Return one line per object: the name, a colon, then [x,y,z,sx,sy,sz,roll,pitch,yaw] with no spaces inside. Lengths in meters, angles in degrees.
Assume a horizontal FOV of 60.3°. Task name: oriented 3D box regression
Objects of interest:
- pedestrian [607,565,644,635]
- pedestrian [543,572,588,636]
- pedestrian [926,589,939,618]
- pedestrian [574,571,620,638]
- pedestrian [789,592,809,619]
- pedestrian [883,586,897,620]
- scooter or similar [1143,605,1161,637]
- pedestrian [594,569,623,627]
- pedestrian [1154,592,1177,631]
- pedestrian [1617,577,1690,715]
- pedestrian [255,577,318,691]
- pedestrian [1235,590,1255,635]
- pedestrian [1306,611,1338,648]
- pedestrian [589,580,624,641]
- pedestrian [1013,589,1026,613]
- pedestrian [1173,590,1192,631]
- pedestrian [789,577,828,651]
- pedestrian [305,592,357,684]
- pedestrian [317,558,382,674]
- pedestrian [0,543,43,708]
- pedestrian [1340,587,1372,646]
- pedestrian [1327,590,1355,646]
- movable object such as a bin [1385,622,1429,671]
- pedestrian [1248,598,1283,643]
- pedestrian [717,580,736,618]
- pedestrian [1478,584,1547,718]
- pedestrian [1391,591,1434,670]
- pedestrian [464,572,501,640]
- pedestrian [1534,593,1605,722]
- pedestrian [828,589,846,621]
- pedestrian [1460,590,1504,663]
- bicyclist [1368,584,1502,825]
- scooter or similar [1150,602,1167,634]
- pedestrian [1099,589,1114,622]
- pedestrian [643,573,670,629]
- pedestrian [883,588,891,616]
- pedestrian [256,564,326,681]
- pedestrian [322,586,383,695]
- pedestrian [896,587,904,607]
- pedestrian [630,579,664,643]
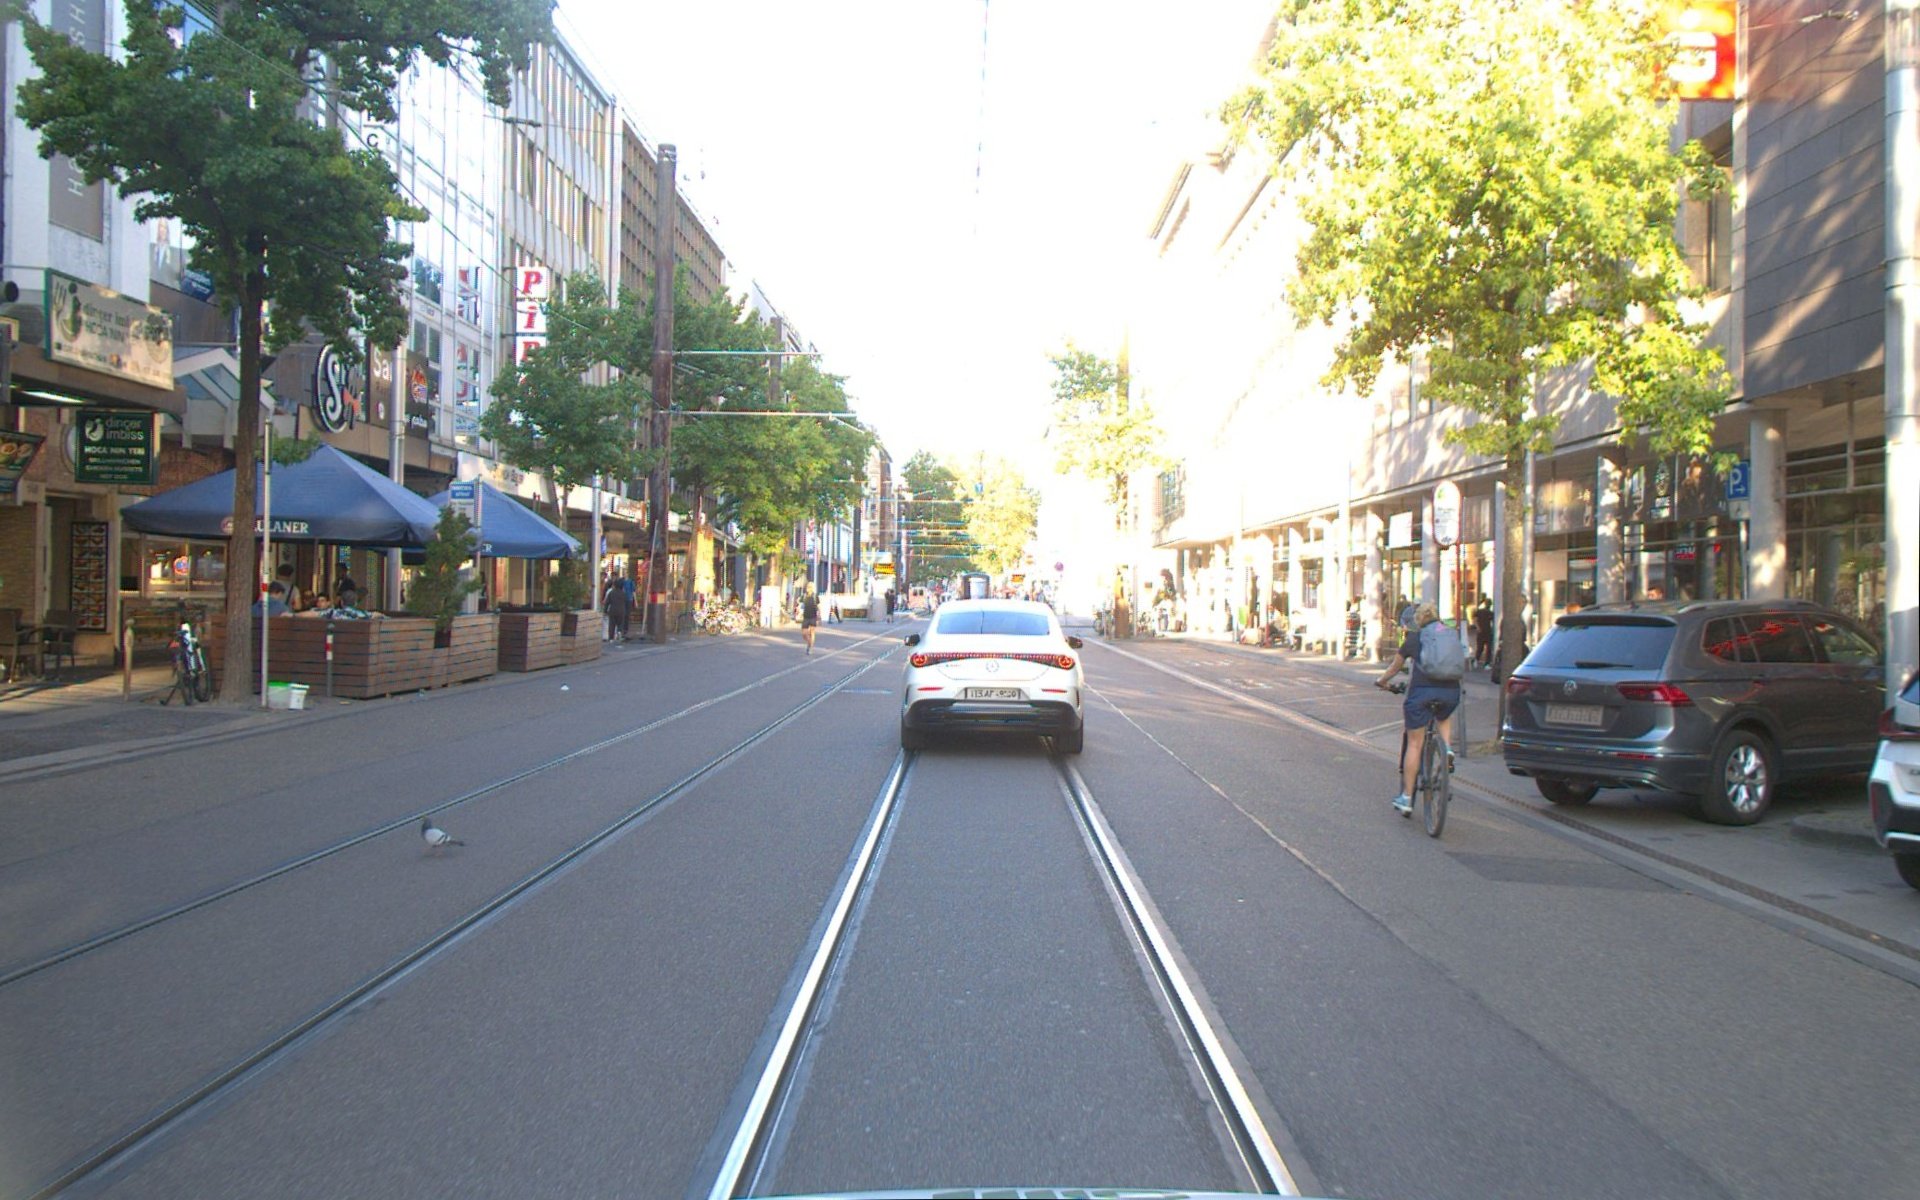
pedestrian: [-9.738,-0.003,48.237,0.784,1.957,1.071,3,0,-2]
pedestrian: [-10.631,0.116,44.627,0.831,1.666,0.762,2,0,20]
pedestrian: [-1.804,0.225,108.252,0.784,1.813,0.849,2,0,-1]
pedestrian: [-9.898,0.114,45.151,0.832,1.771,0.835,2,0,20]
pedestrian: [-8.992,0.296,92.396,0.936,1.522,0.944,1,0,1]
pedestrian: [-3.979,0.172,94.447,0.531,1.963,0.569,1,0,44]
scooter or similar: [7.885,0.869,67.919,0.518,1.299,0.658,-1,0,-11]
pedestrian: [-11.398,-0.056,53.678,0.609,1.835,0.933,3,0,1]
pedestrian: [9.567,0.544,76.971,0.881,1.775,0.689,-3,0,0]
pedestrian: [9.035,0.586,21.554,0.677,1.761,0.629,-1,0,43]
pedestrian: [-8.806,0.440,21.652,0.538,1.454,0.582,2,0,0]
pedestrian: [10.816,0.454,62.702,0.623,1.682,0.781,1,0,2]
pedestrian: [10.535,0.846,48.166,0.818,1.049,0.696,1,0,5]
pedestrian: [-9.090,0.262,42.565,0.609,1.535,0.833,3,0,1]
pedestrian: [4.449,0.085,124.528,0.941,1.817,0.803,-1,0,0]
pedestrian: [10.310,0.475,76.749,0.687,1.844,1.033,-3,0,0]
pedestrian: [-3.848,0.348,42.147,0.824,1.832,0.790,2,0,1]
pedestrian: [-8.728,0.523,22.964,0.484,1.249,0.535,2,0,0]
pedestrian: [-9.462,0.239,25.634,0.703,1.755,0.675,2,0,-1]
pedestrian: [-10.298,0.251,17.413,0.653,1.715,1.005,3,0,0]
pedestrian: [11.761,0.484,49.156,0.729,1.730,0.858,1,0,1]
pedestrian: [12.323,0.581,53.533,0.701,1.771,0.835,1,0,1]
movable object such as a bin: [9.100,0.937,33.721,0.675,0.940,0.718,2,0,1]
pedestrian: [9.798,0.650,53.068,0.821,1.401,0.773,1,0,-22]
pedestrian: [-10.984,-0.052,77.747,0.775,1.797,0.533,1,0,-24]
pedestrian: [7.252,0.663,21.699,0.667,1.715,0.694,-1,0,34]
pedestrian: [9.385,0.623,34.286,0.667,1.600,0.632,2,0,1]
pedestrian: [-11.127,0.137,38.564,0.585,1.559,0.671,2,0,1]
pedestrian: [7.743,0.717,21.003,0.597,1.579,0.685,-1,0,44]
pedestrian: [-6.742,0.274,90.360,0.886,1.728,0.849,1,0,1]
pedestrian: [11.870,0.594,37.632,0.681,1.617,0.926,1,0,1]
bicyclist: [3.426,0.724,11.998,0.761,1.641,0.913,3,0,9]
scooter or similar: [8.073,0.736,67.285,0.482,1.299,0.658,-1,0,-11]
pedestrian: [8.215,0.310,92.818,0.733,1.817,0.766,-1,0,0]
pedestrian: [-9.874,0.041,53.863,0.609,1.778,0.933,3,0,1]
pedestrian: [-4.650,0.121,105.414,0.509,1.791,0.551,1,0,-2]
pedestrian: [-9.630,0.313,23.820,0.659,1.635,0.720,2,0,0]
pedestrian: [-7.929,0.519,21.597,0.538,1.380,0.582,2,0,0]
pedestrian: [-4.874,-0.227,134.459,0.646,1.627,0.573,1,0,-1]
pedestrian: [-8.060,0.279,42.637,0.609,1.577,0.852,3,0,1]
